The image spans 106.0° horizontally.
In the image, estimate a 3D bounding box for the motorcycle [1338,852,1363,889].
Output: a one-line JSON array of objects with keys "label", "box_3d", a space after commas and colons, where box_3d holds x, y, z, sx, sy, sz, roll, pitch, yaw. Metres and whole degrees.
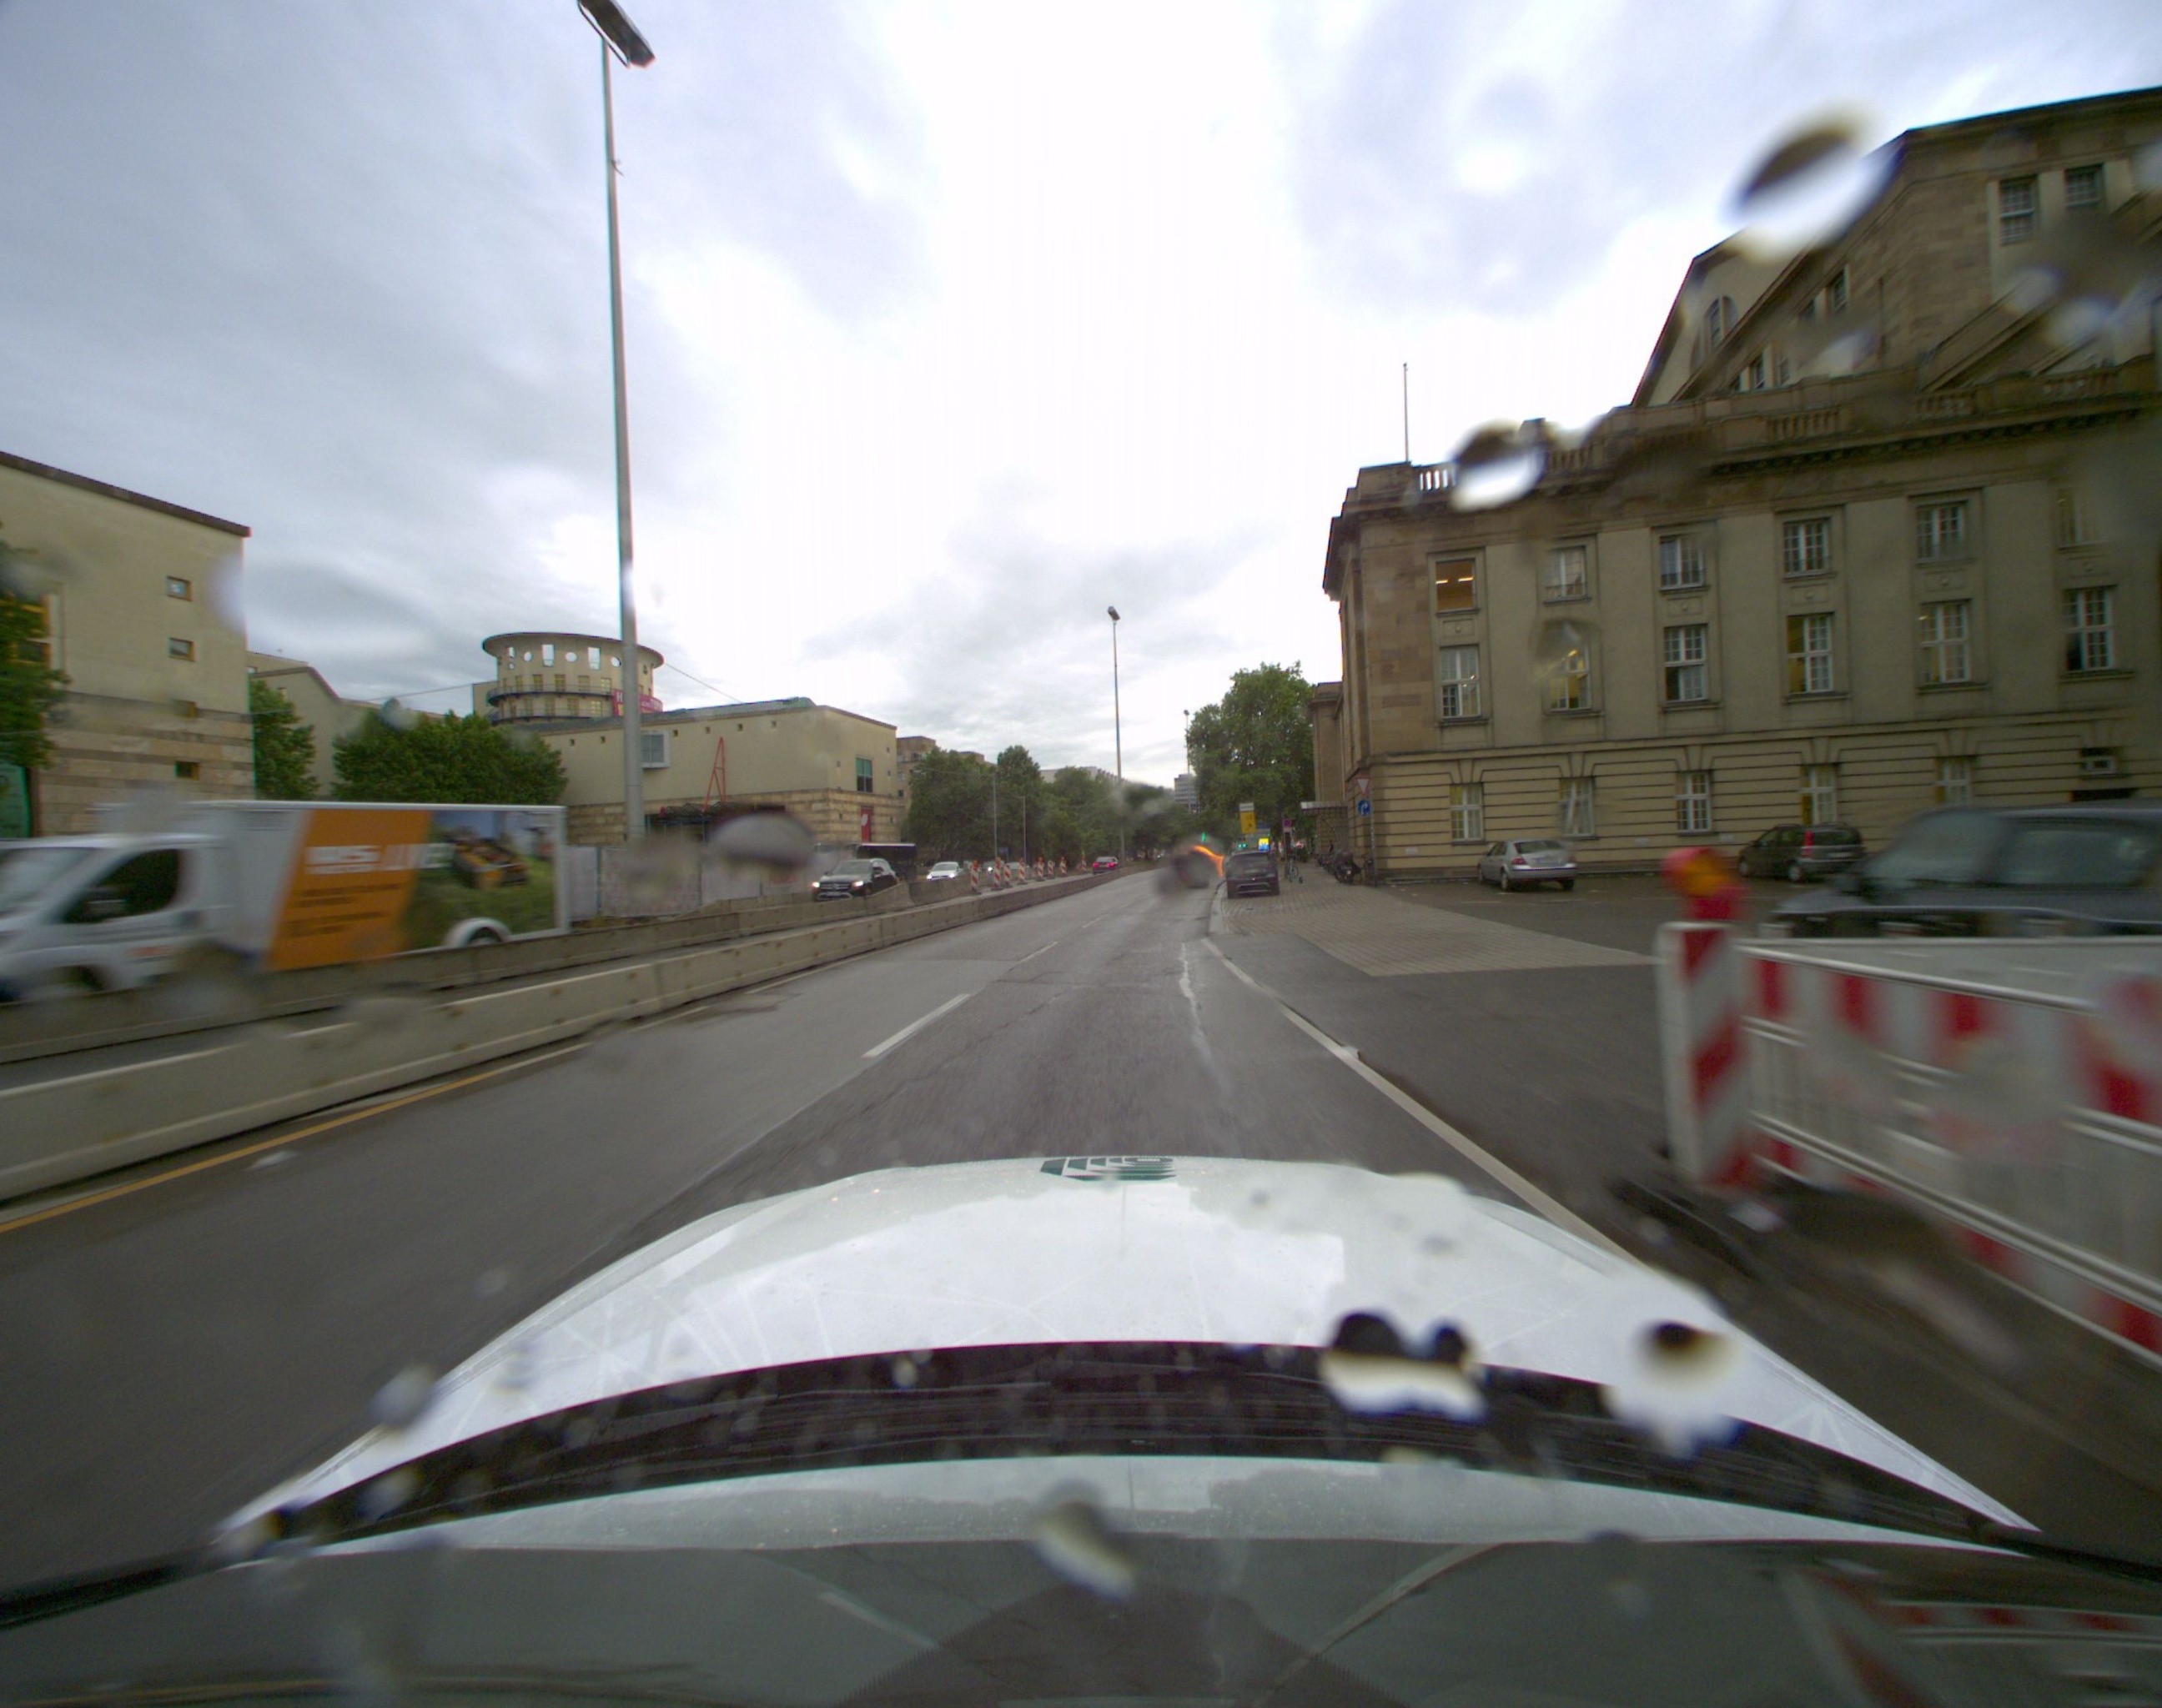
[{"label": "motorcycle", "box_3d": [10.003, 0.609, 30.274, 0.800, 1.299, 1.807, -2, -1, 17]}]

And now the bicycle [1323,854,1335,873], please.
[{"label": "bicycle", "box_3d": [14.018, 0.553, 46.060, 0.579, 1.038, 1.766, -2, -1, 16]}]

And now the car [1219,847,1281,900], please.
[{"label": "car", "box_3d": [5.940, 0.623, 28.517, 1.858, 1.619, 4.419, -3, 0, 12]}]

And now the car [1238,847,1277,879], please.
[{"label": "car", "box_3d": [10.551, 0.512, 48.568, 1.979, 1.781, 4.205, -2, -1, 15]}]

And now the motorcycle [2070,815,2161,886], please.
[{"label": "motorcycle", "box_3d": [23.835, -0.093, 18.279, 1.957, 1.545, 0.853, -1, 1, 14]}]

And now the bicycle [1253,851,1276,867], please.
[{"label": "bicycle", "box_3d": [16.367, 0.433, 72.526, 1.892, 1.332, 0.653, -2, -1, 15]}]

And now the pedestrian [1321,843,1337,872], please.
[{"label": "pedestrian", "box_3d": [15.930, 0.245, 52.408, 0.789, 1.777, 0.644, -5, -2, 13]}]

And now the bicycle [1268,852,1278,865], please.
[{"label": "bicycle", "box_3d": [18.563, 0.395, 78.748, 0.600, 1.197, 1.914, -4, -2, 21]}]

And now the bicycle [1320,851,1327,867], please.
[{"label": "bicycle", "box_3d": [19.484, 0.399, 65.442, 0.450, 1.251, 1.605, 0, 0, 12]}]

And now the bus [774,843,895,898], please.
[{"label": "bus", "box_3d": [-20.960, 1.249, 70.725, 3.095, 4.252, 13.553, -1, 0, 16]}]

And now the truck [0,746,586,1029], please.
[{"label": "truck", "box_3d": [-10.820, 0.332, 11.078, 2.381, 2.719, 7.381, -2, 0, 13]}]

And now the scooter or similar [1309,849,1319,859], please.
[{"label": "scooter or similar", "box_3d": [30.690, 0.014, 107.246, 0.543, 1.255, 1.428, -3, 0, -18]}]

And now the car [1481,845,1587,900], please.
[{"label": "car", "box_3d": [12.914, 0.507, 23.492, 1.510, 1.410, 4.142, -2, -1, 12]}]

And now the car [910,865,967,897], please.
[{"label": "car", "box_3d": [-7.679, 1.433, 44.269, 1.984, 1.530, 4.006, -2, 0, 5]}]

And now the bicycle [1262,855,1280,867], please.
[{"label": "bicycle", "box_3d": [17.185, 0.632, 73.678, 1.578, 0.994, 0.527, -2, 0, 15]}]

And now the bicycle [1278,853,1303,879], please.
[{"label": "bicycle", "box_3d": [10.487, 0.578, 40.804, 0.772, 1.218, 1.966, -4, -1, 2]}]

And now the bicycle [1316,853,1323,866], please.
[{"label": "bicycle", "box_3d": [19.444, 0.443, 66.356, 0.349, 1.080, 1.795, -4, -2, 12]}]

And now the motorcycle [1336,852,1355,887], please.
[{"label": "motorcycle", "box_3d": [10.538, 0.612, 32.486, 0.662, 1.326, 2.144, -2, -1, 17]}]

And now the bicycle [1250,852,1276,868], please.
[{"label": "bicycle", "box_3d": [16.339, 0.561, 73.094, 2.174, 1.336, 0.653, -2, -1, 15]}]

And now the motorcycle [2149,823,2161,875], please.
[{"label": "motorcycle", "box_3d": [28.905, -0.172, 20.900, 1.648, 1.338, 0.738, -3, -1, 17]}]

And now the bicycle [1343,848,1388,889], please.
[{"label": "bicycle", "box_3d": [9.648, 0.498, 27.679, 1.095, 1.317, 1.863, -2, -1, 9]}]

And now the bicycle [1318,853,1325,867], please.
[{"label": "bicycle", "box_3d": [19.121, 0.505, 64.763, 0.349, 1.080, 1.795, -1, -1, 12]}]

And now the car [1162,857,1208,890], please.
[{"label": "car", "box_3d": [4.972, 0.934, 39.512, 1.837, 1.416, 3.841, -3, -1, 2]}]

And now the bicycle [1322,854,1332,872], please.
[{"label": "bicycle", "box_3d": [16.651, 0.614, 55.227, 0.461, 1.215, 1.697, -2, -1, 11]}]

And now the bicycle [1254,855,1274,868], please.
[{"label": "bicycle", "box_3d": [16.146, 0.636, 71.806, 1.666, 1.090, 0.653, -2, -1, 15]}]

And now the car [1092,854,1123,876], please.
[{"label": "car", "box_3d": [2.076, 0.843, 62.800, 1.744, 1.451, 4.010, -6, -1, 9]}]

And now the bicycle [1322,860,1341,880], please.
[{"label": "bicycle", "box_3d": [13.303, 0.832, 43.269, 0.708, 1.051, 1.744, -2, -1, 8]}]

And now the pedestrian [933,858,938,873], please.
[{"label": "pedestrian", "box_3d": [-19.534, 1.507, 109.292, 0.474, 2.014, 0.514, -4, -2, 13]}]

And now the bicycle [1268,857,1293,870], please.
[{"label": "bicycle", "box_3d": [17.163, 0.853, 70.049, 1.973, 1.060, 0.761, -2, -1, 10]}]

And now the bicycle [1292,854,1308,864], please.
[{"label": "bicycle", "box_3d": [24.005, 0.541, 89.235, 1.627, 1.020, 0.577, 0, -1, 18]}]

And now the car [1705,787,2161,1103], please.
[{"label": "car", "box_3d": [6.070, 0.431, 5.143, 1.678, 1.494, 3.626, -2, -1, 6]}]

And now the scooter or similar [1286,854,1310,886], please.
[{"label": "scooter or similar", "box_3d": [9.205, 0.676, 34.553, 0.433, 1.293, 1.253, -1, -1, -11]}]

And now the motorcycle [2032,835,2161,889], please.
[{"label": "motorcycle", "box_3d": [24.129, 0.186, 19.287, 1.957, 1.197, 0.853, 1, 0, 14]}]

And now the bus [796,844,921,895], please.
[{"label": "bus", "box_3d": [-18.374, 1.136, 69.101, 2.782, 3.811, 14.661, -1, 0, 17]}]

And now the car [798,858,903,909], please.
[{"label": "car", "box_3d": [-8.000, 0.965, 28.770, 1.911, 1.530, 4.768, -2, 0, 5]}]

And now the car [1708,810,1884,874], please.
[{"label": "car", "box_3d": [19.976, -0.318, 23.038, 1.805, 1.539, 4.525, -3, 0, 14]}]
